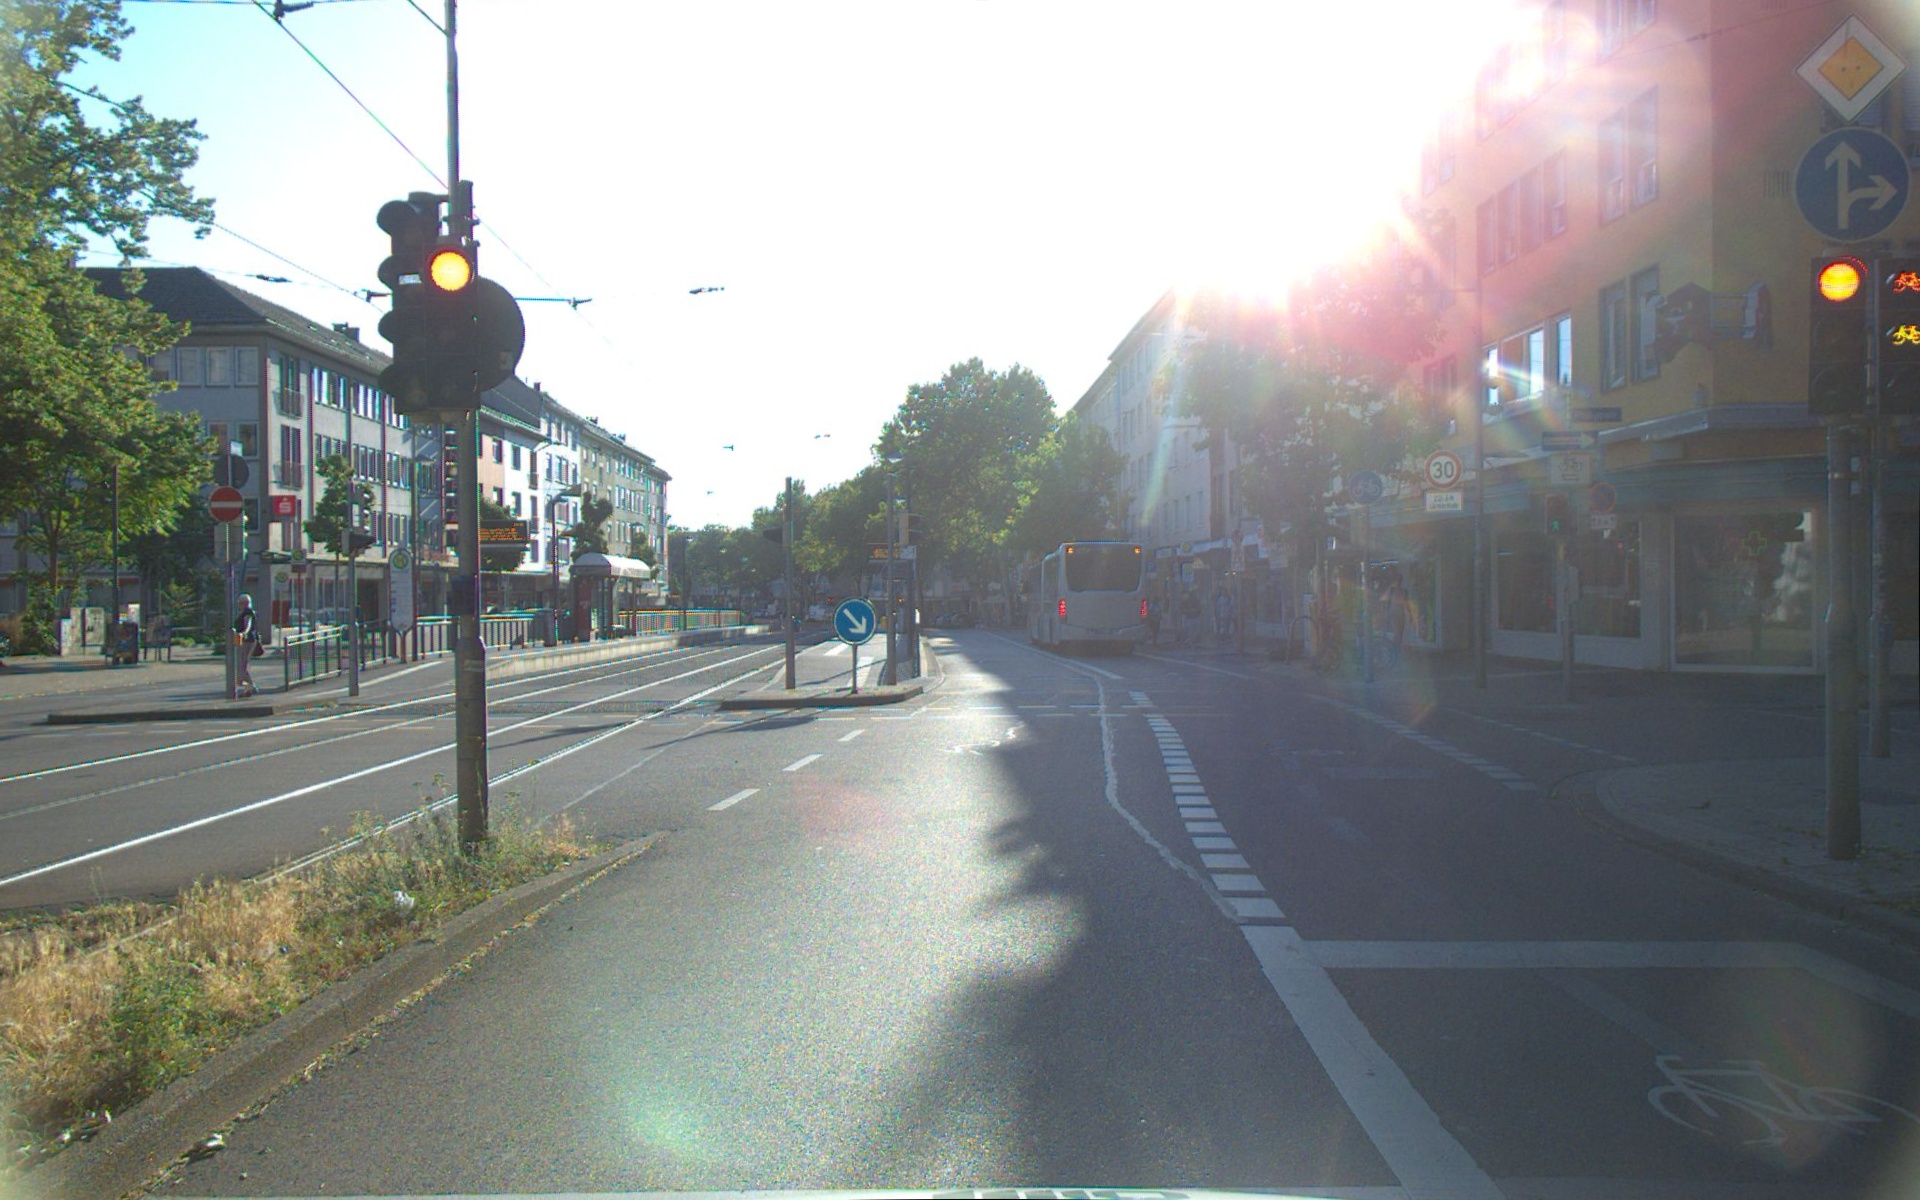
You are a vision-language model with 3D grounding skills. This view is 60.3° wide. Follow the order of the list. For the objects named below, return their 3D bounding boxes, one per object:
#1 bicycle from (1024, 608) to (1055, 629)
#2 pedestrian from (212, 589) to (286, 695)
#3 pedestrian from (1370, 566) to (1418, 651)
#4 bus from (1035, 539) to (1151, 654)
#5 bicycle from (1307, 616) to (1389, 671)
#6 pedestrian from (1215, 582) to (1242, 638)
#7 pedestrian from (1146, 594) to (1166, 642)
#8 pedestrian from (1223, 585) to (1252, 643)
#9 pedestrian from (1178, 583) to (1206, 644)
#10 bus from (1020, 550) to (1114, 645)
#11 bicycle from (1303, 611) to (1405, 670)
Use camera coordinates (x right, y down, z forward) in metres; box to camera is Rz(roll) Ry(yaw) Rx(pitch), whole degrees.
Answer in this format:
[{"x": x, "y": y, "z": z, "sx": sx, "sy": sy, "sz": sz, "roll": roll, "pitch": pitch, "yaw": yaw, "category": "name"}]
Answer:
[{"x": 4.848, "y": 1.127, "z": 101.009, "sx": 1.848, "sy": 1.096, "sz": 0.754, "roll": -5, "pitch": 0, "yaw": 1, "category": "bicycle"}, {"x": -12.265, "y": 0.722, "z": 28.556, "sx": 0.900, "sy": 1.791, "sz": 0.832, "roll": -1, "pitch": -1, "yaw": 0, "category": "pedestrian"}, {"x": 9.521, "y": 0.188, "z": 36.344, "sx": 0.728, "sy": 1.811, "sz": 0.894, "roll": -2, "pitch": -1, "yaw": -2, "category": "pedestrian"}, {"x": 3.868, "y": -0.090, "z": 50.240, "sx": 2.642, "sy": 3.173, "sz": 9.379, "roll": 0, "pitch": 0, "yaw": -1, "category": "bus"}, {"x": 7.487, "y": 0.836, "z": 31.928, "sx": 1.453, "sy": 1.026, "sz": 0.454, "roll": -1, "pitch": 0, "yaw": -5, "category": "bicycle"}, {"x": 8.763, "y": 0.322, "z": 53.996, "sx": 0.709, "sy": 1.810, "sz": 0.766, "roll": -1, "pitch": -1, "yaw": -2, "category": "pedestrian"}, {"x": 6.587, "y": 0.604, "z": 55.625, "sx": 0.597, "sy": 1.606, "sz": 0.851, "roll": -1, "pitch": 0, "yaw": 5, "category": "pedestrian"}, {"x": 8.614, "y": 0.437, "z": 51.384, "sx": 0.709, "sy": 1.753, "sz": 0.766, "roll": -1, "pitch": -1, "yaw": -2, "category": "pedestrian"}, {"x": 7.124, "y": 0.421, "z": 50.844, "sx": 0.709, "sy": 1.838, "sz": 0.766, "roll": -1, "pitch": -1, "yaw": -2, "category": "pedestrian"}, {"x": 3.729, "y": -0.067, "z": 59.423, "sx": 2.642, "sy": 3.173, "sz": 9.068, "roll": 0, "pitch": 0, "yaw": -1, "category": "bus"}, {"x": 7.451, "y": 0.763, "z": 31.308, "sx": 1.763, "sy": 1.026, "sz": 0.540, "roll": -3, "pitch": 0, "yaw": -5, "category": "bicycle"}]
